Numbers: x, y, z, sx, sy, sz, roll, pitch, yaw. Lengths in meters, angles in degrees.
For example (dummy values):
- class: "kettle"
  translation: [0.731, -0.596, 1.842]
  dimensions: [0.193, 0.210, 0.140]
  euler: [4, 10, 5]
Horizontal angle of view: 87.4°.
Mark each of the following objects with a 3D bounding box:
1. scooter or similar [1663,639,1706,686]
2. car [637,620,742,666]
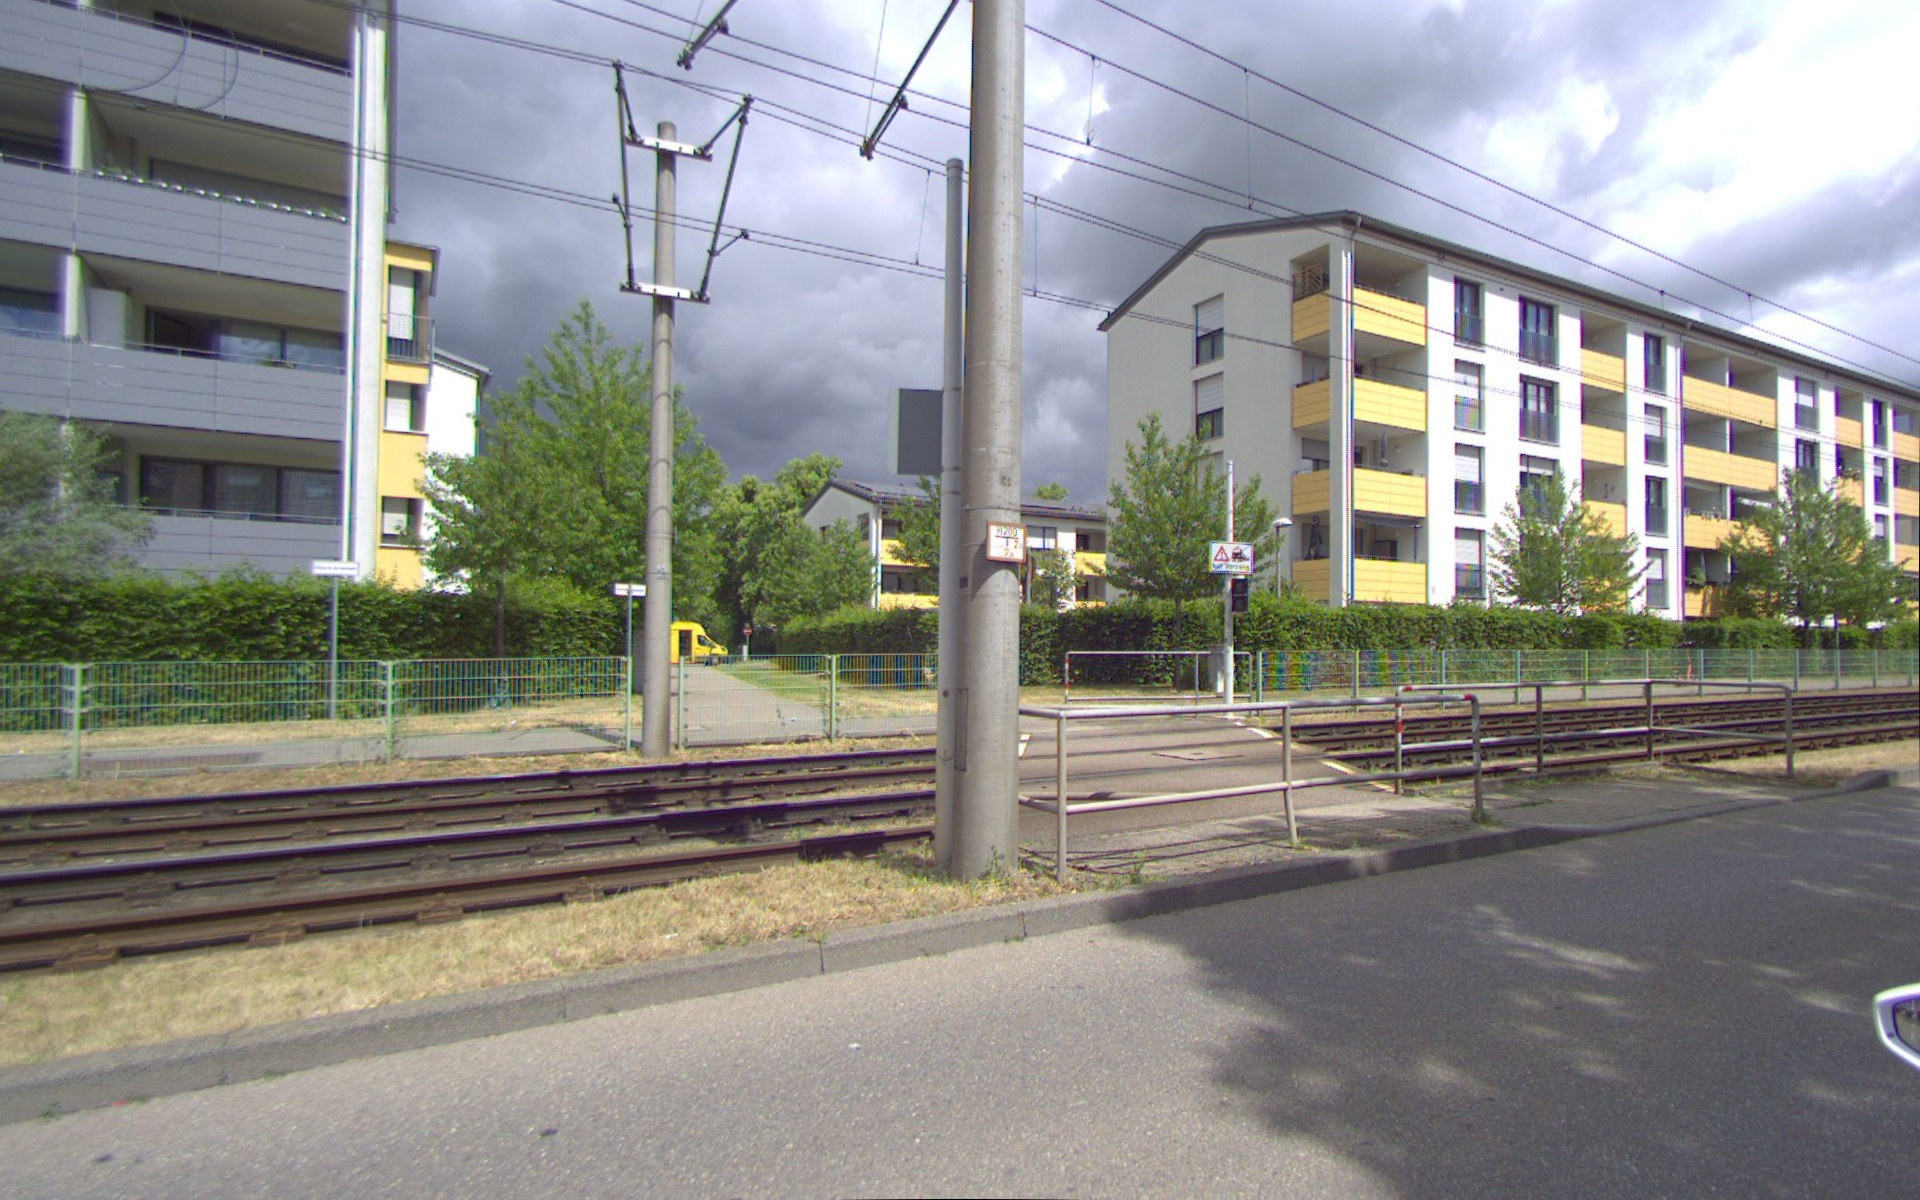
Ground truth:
- class: "scooter or similar"
  translation: [20.531, 1.757, 28.462]
  dimensions: [1.286, 1.310, 0.488]
  euler: [1, -1, -29]
- class: "car"
  translation: [-17.390, 2.742, 64.639]
  dimensions: [6.154, 2.816, 2.303]
  euler: [1, -1, -30]
